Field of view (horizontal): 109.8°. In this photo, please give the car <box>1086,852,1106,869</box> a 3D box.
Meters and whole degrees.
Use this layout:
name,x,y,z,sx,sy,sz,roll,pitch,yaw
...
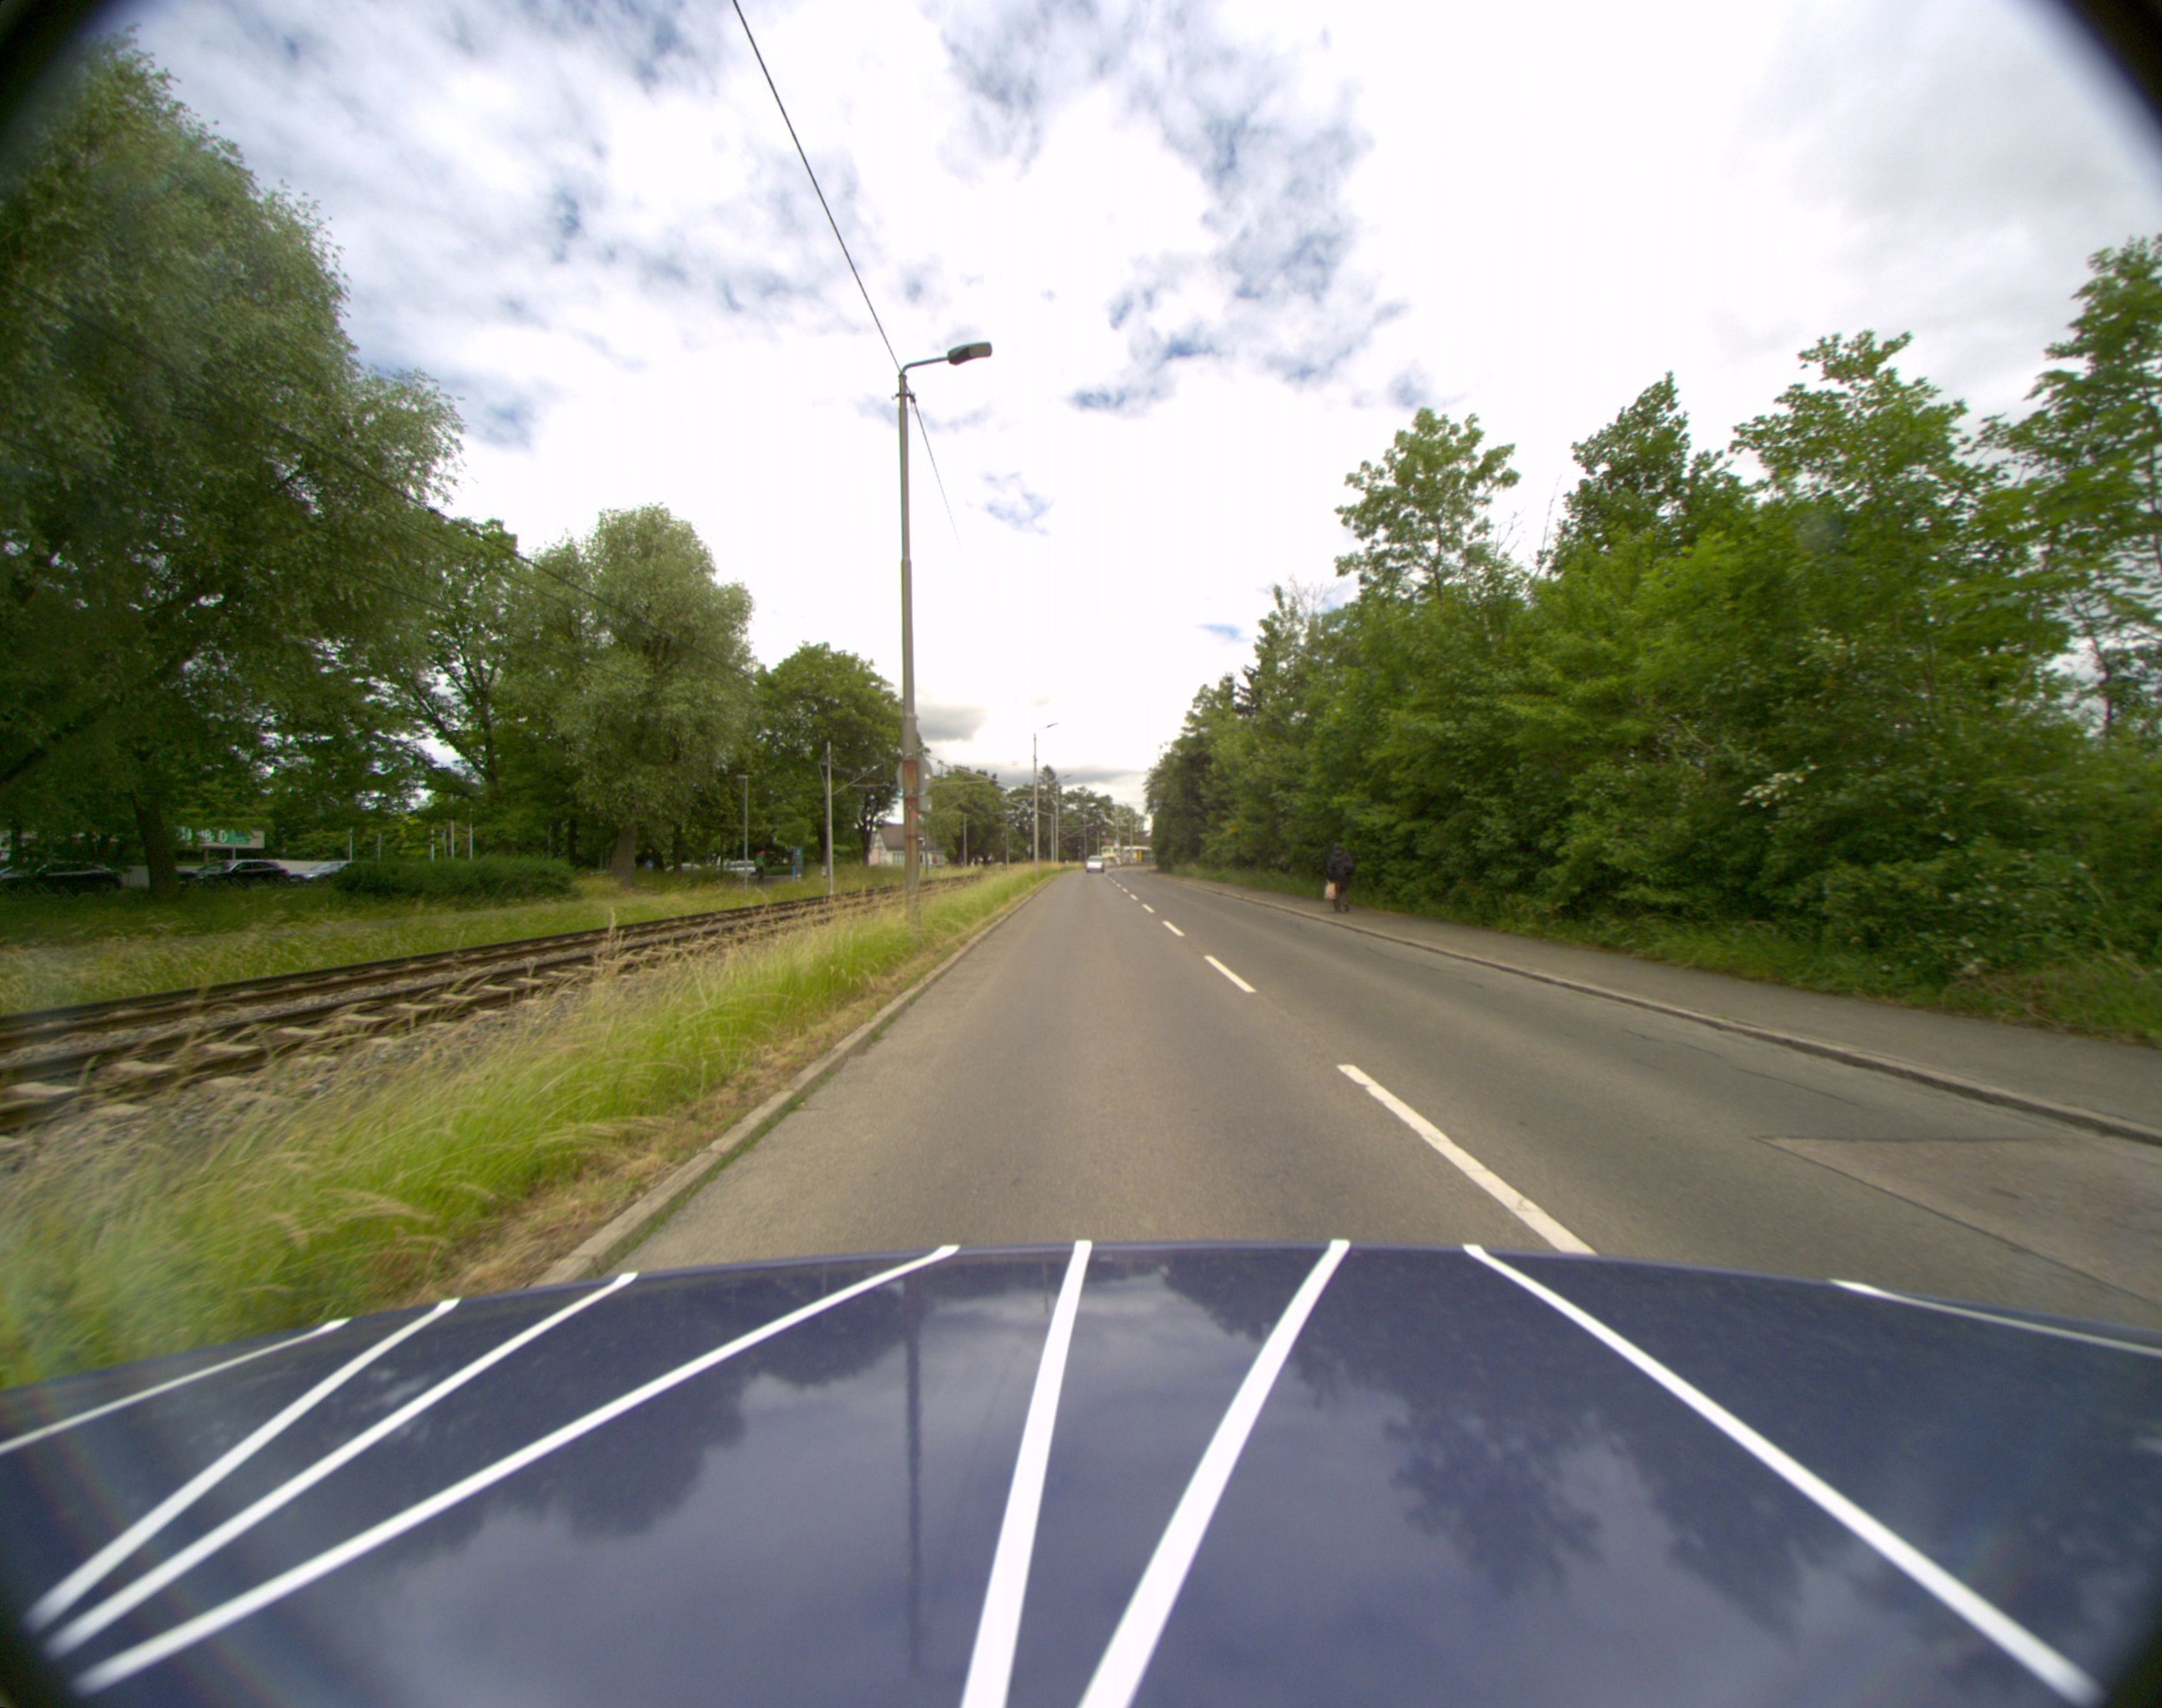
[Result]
name,x,y,z,sx,sy,sz,roll,pitch,yaw
car,1.519,0.657,75.369,1.733,1.638,4.228,-2,-1,4

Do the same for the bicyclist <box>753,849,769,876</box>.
name,x,y,z,sx,sy,sz,roll,pitch,yaw
bicyclist,-20.134,0.534,47.813,0.582,1.686,0.935,-1,1,-3

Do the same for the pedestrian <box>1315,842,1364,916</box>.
name,x,y,z,sx,sy,sz,roll,pitch,yaw
pedestrian,6.290,0.604,18.527,0.870,1.759,0.789,0,0,-4

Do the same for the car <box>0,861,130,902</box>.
name,x,y,z,sx,sy,sz,roll,pitch,yaw
car,-40.606,1.051,29.594,1.998,1.434,4.000,-1,0,1

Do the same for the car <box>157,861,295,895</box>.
name,x,y,z,sx,sy,sz,roll,pitch,yaw
car,-40.638,1.108,36.271,1.998,1.434,4.000,-1,0,1

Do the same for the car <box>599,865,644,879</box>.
name,x,y,z,sx,sy,sz,roll,pitch,yaw
car,-44.746,1.742,74.111,3.529,1.326,1.671,-1,0,-23

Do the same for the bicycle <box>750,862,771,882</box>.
name,x,y,z,sx,sy,sz,roll,pitch,yaw
bicycle,-20.105,1.112,47.683,0.582,1.239,1.928,-1,0,-3

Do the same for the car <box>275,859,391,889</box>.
name,x,y,z,sx,sy,sz,roll,pitch,yaw
car,-40.645,1.052,41.465,1.998,1.434,4.346,-1,0,1

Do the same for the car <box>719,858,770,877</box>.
name,x,y,z,sx,sy,sz,roll,pitch,yaw
car,-34.667,1.404,78.424,4.719,1.850,1.914,-1,0,-23
